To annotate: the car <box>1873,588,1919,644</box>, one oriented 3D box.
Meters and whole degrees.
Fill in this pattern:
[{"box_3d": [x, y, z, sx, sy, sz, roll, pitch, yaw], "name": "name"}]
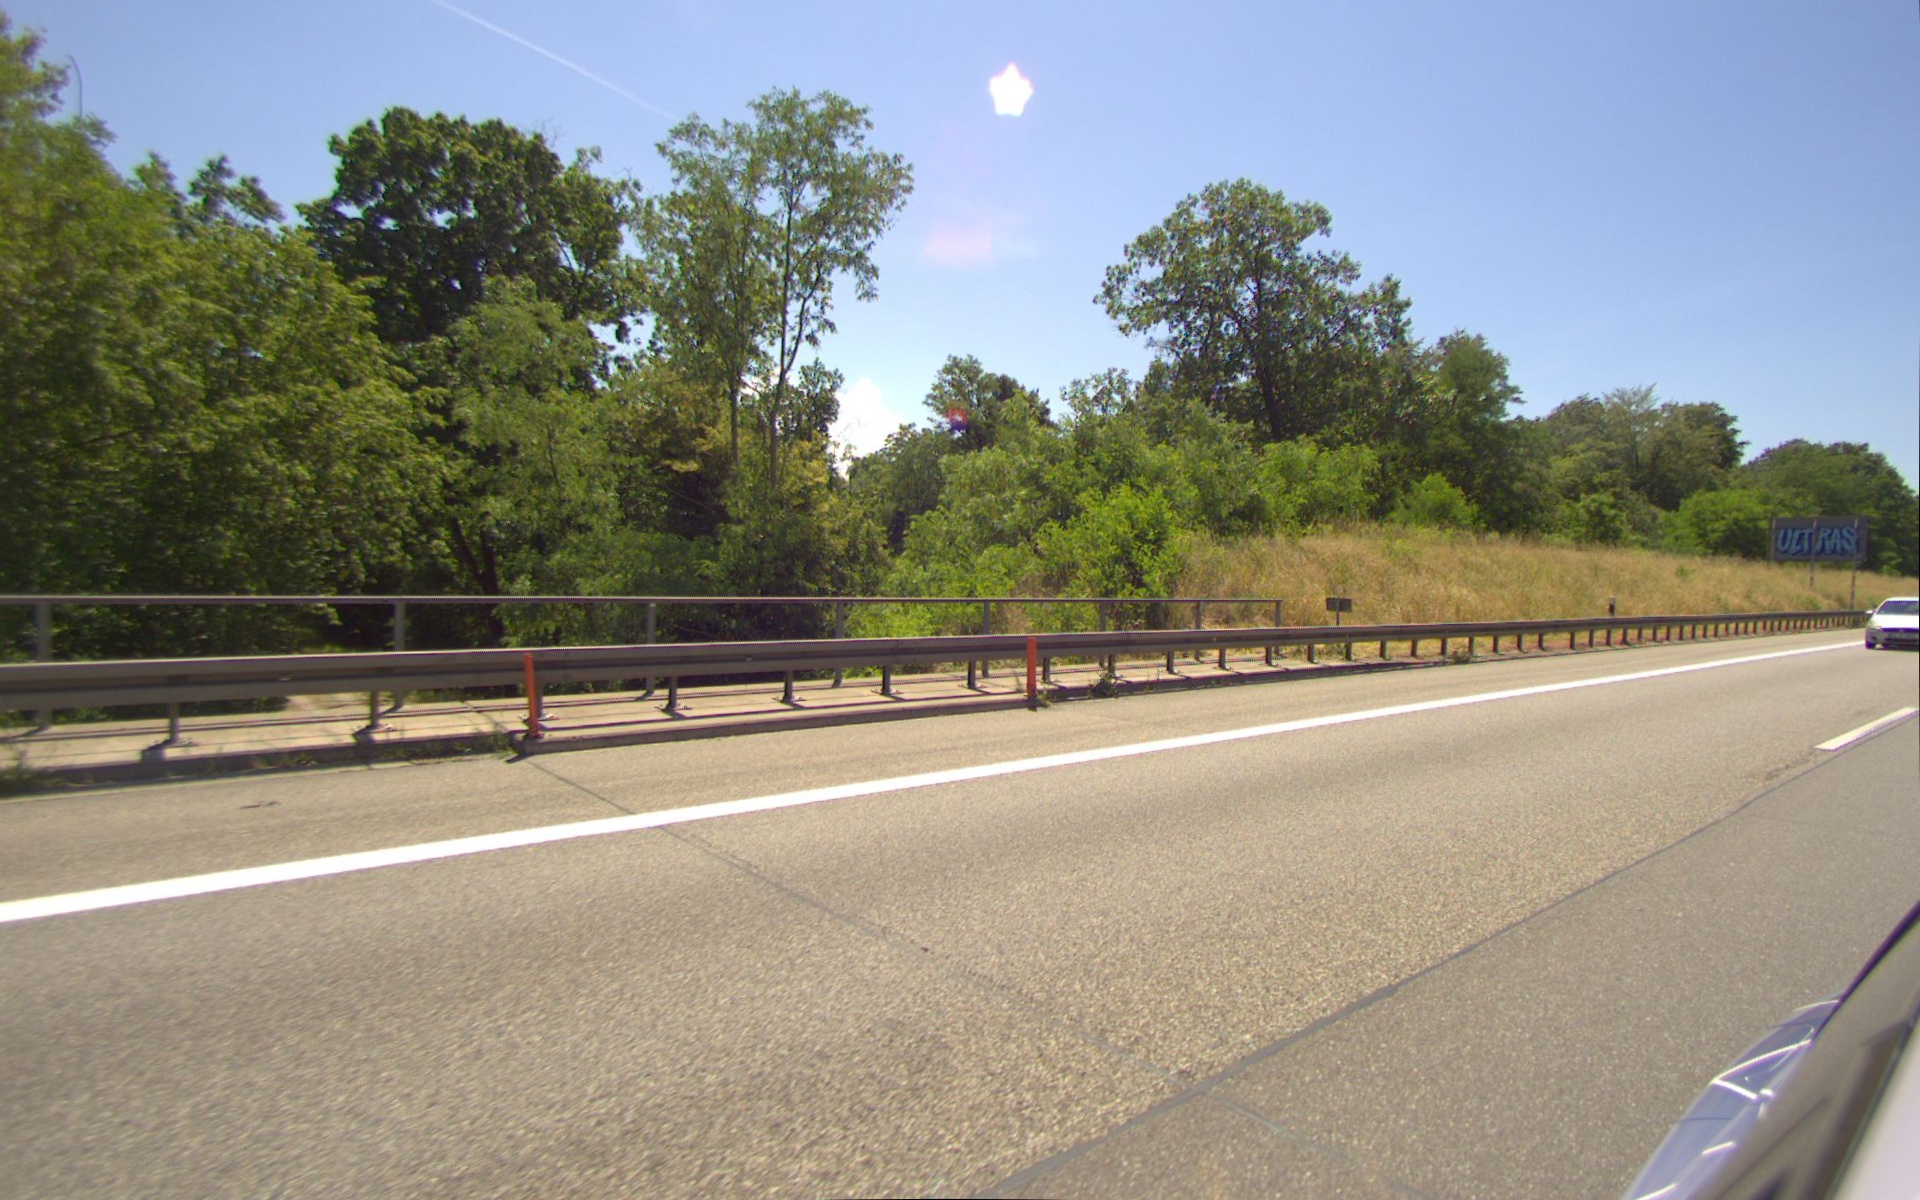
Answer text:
[{"box_3d": [27.211, 0.431, 28.420, 3.909, 1.484, 1.749, 0, 1, -39], "name": "car"}]
